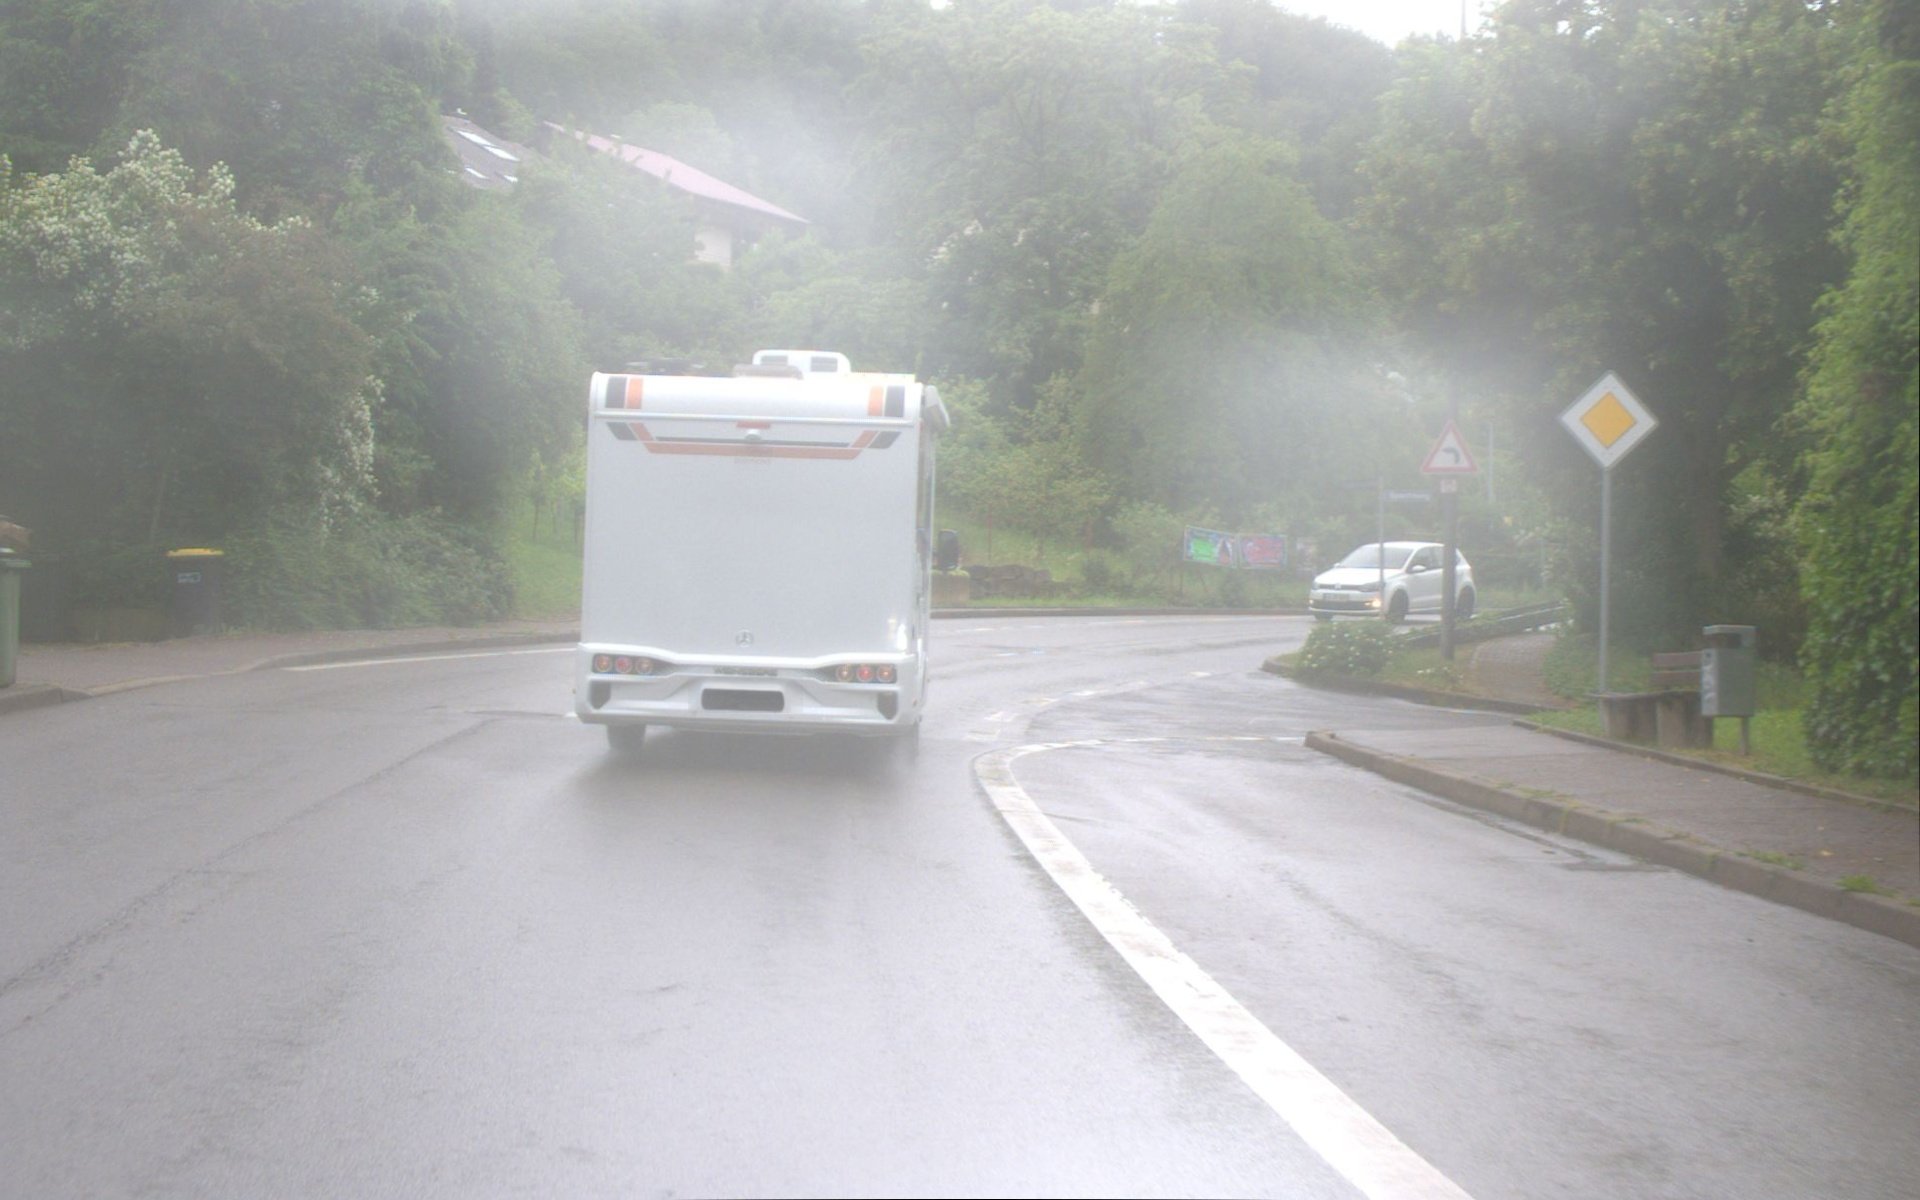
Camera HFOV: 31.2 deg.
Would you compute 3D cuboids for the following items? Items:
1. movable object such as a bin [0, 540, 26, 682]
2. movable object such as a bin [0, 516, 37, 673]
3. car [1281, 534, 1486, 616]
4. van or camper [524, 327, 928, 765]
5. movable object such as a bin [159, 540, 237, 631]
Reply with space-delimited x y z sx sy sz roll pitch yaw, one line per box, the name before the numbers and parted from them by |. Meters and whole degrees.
movable object such as a bin | -7.733 0.078 26.808 0.741 1.090 0.757 0 1 -5
movable object such as a bin | -7.884 -0.053 27.694 0.741 1.249 0.757 0 1 -5
car | 7.691 -0.466 62.233 1.896 1.383 3.991 -2 0 37
van or camper | -1.565 -0.337 25.528 2.615 2.843 6.031 1 0 -1
movable object such as a bin | -8.696 -0.170 39.267 0.755 1.019 0.744 1 1 -3
